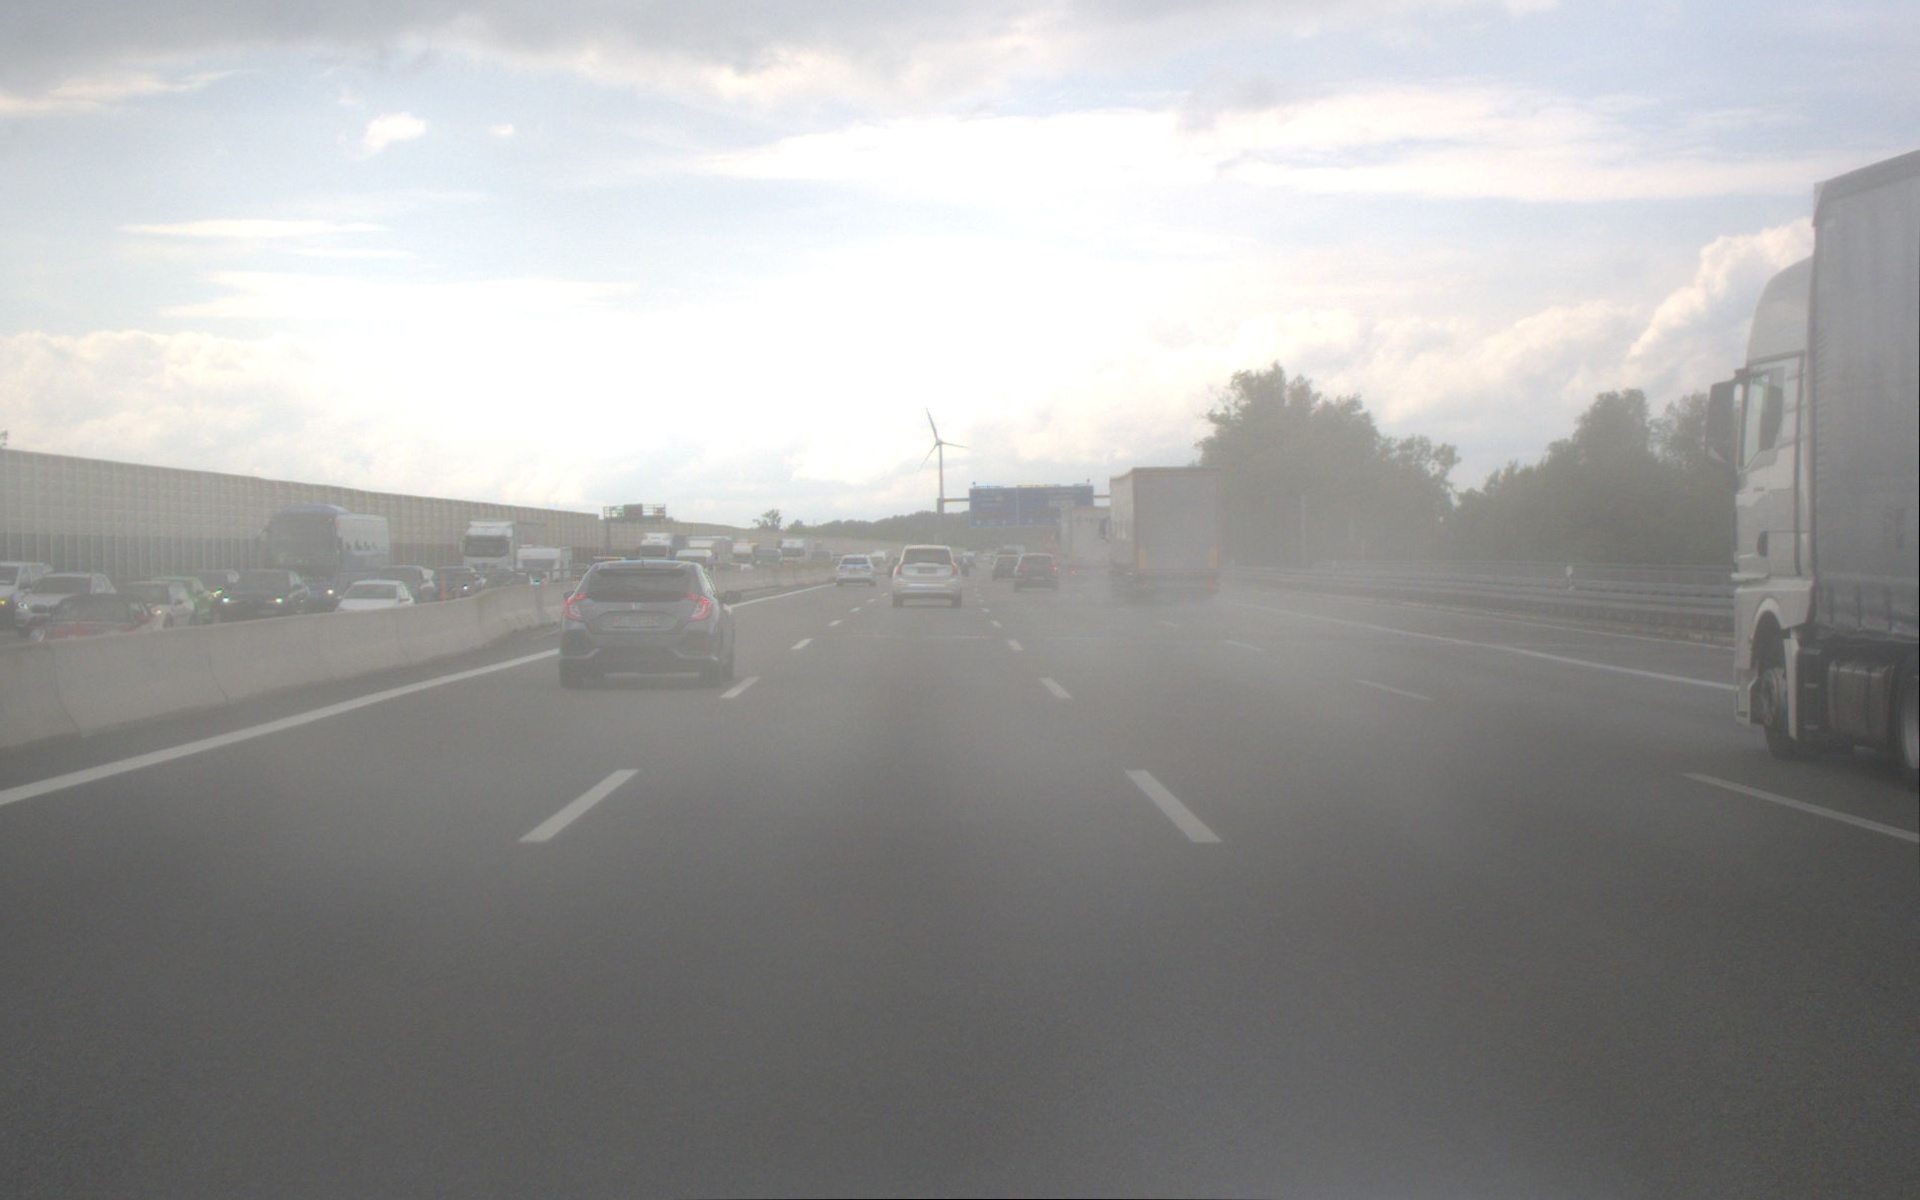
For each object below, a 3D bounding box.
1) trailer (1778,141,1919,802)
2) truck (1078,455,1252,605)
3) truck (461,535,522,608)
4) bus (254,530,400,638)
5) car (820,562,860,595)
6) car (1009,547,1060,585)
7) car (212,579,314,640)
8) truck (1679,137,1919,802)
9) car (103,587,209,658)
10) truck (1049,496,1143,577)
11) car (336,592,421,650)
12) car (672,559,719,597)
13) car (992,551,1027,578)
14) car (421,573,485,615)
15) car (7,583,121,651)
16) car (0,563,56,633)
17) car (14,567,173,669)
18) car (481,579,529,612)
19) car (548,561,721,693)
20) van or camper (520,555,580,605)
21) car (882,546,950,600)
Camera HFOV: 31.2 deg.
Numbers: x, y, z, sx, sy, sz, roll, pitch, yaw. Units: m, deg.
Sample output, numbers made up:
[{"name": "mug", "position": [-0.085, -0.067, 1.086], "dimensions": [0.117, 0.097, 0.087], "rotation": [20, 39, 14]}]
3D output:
[{"name": "trailer", "position": [7.347, -0.690, 17.138], "dimensions": [2.961, 4.006, 14.119], "rotation": [0, 1, -1]}, {"name": "truck", "position": [6.160, -2.149, 105.747], "dimensions": [4.179, 4.273, 12.614], "rotation": [1, 1, -2]}, {"name": "truck", "position": [-25.839, -1.577, 189.817], "dimensions": [2.576, 3.921, 5.177], "rotation": [1, 1, 0]}, {"name": "bus", "position": [-22.979, -0.661, 125.508], "dimensions": [3.092, 3.745, 11.882], "rotation": [-1, 1, 0]}, {"name": "car", "position": [-5.578, -0.998, 159.504], "dimensions": [1.772, 1.436, 3.874], "rotation": [0, 1, -3]}, {"name": "car", "position": [2.967, -1.364, 137.692], "dimensions": [1.835, 1.436, 4.056], "rotation": [0, 1, -1]}, {"name": "car", "position": [-19.359, 0.252, 95.638], "dimensions": [1.934, 1.605, 4.178], "rotation": [-1, 1, 0]}, {"name": "truck", "position": [7.220, -0.851, 23.877], "dimensions": [2.961, 4.006, 6.589], "rotation": [0, 1, -1]}, {"name": "car", "position": [-19.022, 0.511, 81.450], "dimensions": [1.621, 1.574, 3.619], "rotation": [-1, 1, 0]}, {"name": "truck", "position": [7.224, -3.396, 184.230], "dimensions": [4.243, 4.162, 11.990], "rotation": [1, 1, -1]}, {"name": "car", "position": [-14.996, 0.524, 88.793], "dimensions": [1.572, 1.389, 3.575], "rotation": [-1, 1, 0]}, {"name": "car", "position": [-14.882, -1.279, 193.716], "dimensions": [2.159, 2.064, 6.014], "rotation": [-1, 1, 0]}, {"name": "car", "position": [2.787, -2.026, 196.108], "dimensions": [1.835, 1.436, 4.056], "rotation": [0, 1, -1]}, {"name": "car", "position": [-18.978, -0.237, 128.771], "dimensions": [1.747, 1.520, 4.178], "rotation": [-1, 1, 0]}, {"name": "car", "position": [-22.545, 0.409, 86.645], "dimensions": [1.747, 1.605, 4.178], "rotation": [-1, 1, 0]}, {"name": "car", "position": [-26.684, -0.075, 95.815], "dimensions": [1.747, 1.887, 4.783], "rotation": [-1, 1, -1]}, {"name": "car", "position": [-14.664, 0.282, 58.356], "dimensions": [1.747, 1.625, 3.748], "rotation": [-1, 1, 0]}, {"name": "car", "position": [-22.096, -0.228, 167.156], "dimensions": [1.747, 1.520, 4.178], "rotation": [-1, 1, 0]}, {"name": "car", "position": [-3.697, 0.260, 39.771], "dimensions": [1.760, 1.364, 5.061], "rotation": [0, 1, -3]}, {"name": "van or camper", "position": [-22.103, -1.110, 185.758], "dimensions": [2.344, 2.632, 7.150], "rotation": [-1, 1, 0]}, {"name": "car", "position": [-1.276, -0.782, 97.737], "dimensions": [1.772, 1.436, 4.056], "rotation": [0, 1, -3]}]
